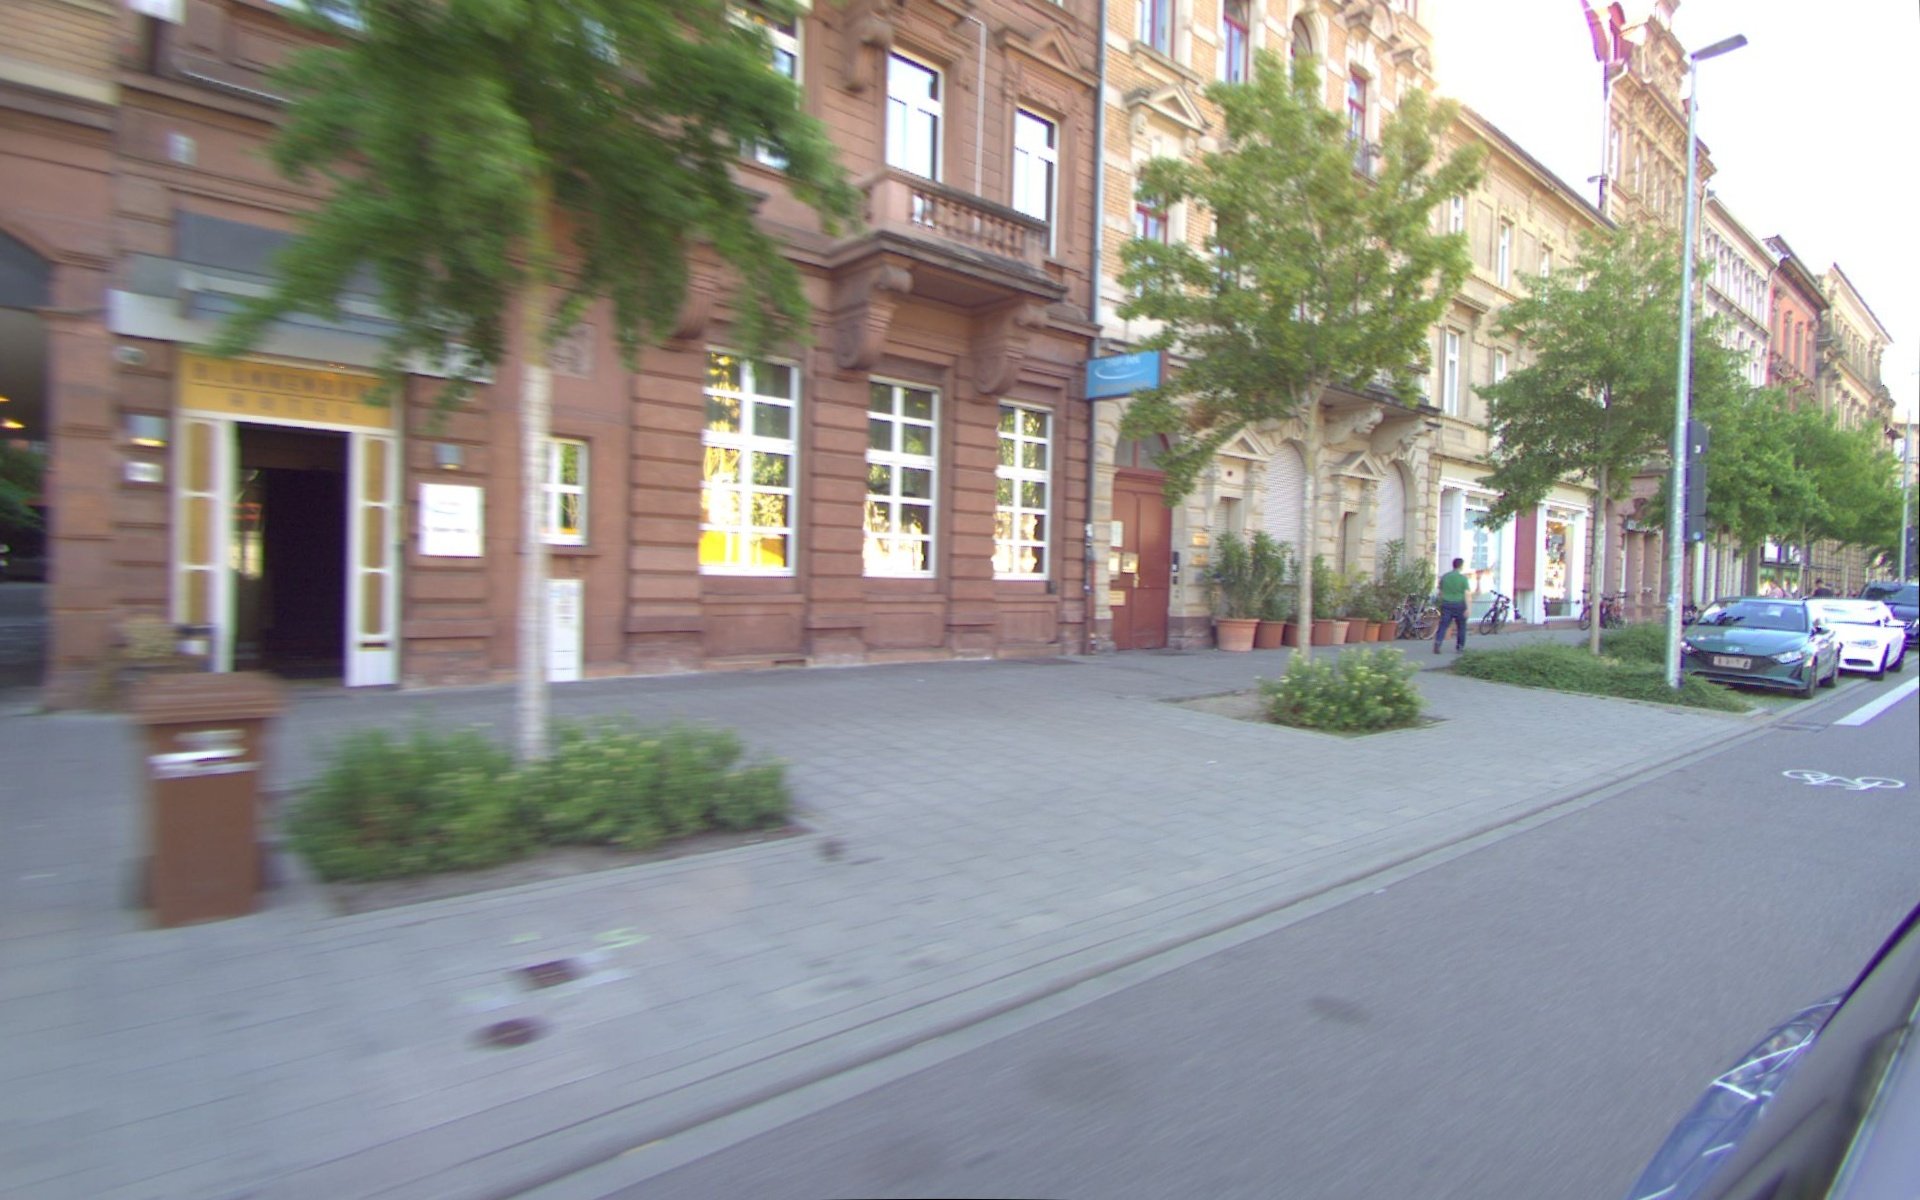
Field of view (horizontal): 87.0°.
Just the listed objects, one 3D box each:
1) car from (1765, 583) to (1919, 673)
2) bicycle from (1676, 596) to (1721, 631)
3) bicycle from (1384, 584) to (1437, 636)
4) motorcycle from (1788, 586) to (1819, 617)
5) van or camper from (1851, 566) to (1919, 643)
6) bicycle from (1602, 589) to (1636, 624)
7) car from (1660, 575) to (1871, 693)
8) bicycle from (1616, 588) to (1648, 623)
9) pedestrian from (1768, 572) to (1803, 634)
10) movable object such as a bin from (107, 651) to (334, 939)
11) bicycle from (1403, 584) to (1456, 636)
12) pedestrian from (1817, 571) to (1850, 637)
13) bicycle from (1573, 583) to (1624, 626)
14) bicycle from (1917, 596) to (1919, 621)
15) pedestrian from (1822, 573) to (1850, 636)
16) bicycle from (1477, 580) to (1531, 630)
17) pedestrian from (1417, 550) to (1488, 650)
[{"bbox_3d":[17.752,0.472,20.144,5.163,1.471,1.852,0,4,-43],"label":"car"},{"bbox_3d":[20.313,0.351,27.811,1.653,0.927,0.655,0,1,-42],"label":"bicycle"},{"bbox_3d":[9.866,0.204,22.144,1.647,1.093,0.385,0,1,-41],"label":"bicycle"},{"bbox_3d":[40.034,0.061,48.038,2.018,1.439,0.788,0,2,-41],"label":"motorcycle"},{"bbox_3d":[27.430,0.132,29.073,5.391,1.995,1.965,0,4,-41],"label":"van or camper"},{"bbox_3d":[20.833,0.193,31.982,2.037,1.046,0.343,0,1,-42],"label":"bicycle"},{"bbox_3d":[13.129,0.466,16.405,4.221,1.583,1.853,0,4,-41],"label":"car"},{"bbox_3d":[21.061,0.155,31.717,2.037,1.078,0.325,0,1,-42],"label":"bicycle"},{"bbox_3d":[23.522,0.071,28.843,0.566,1.750,0.482,1,1,4],"label":"pedestrian"},{"bbox_3d":[-2.871,0.716,3.998,0.548,0.935,0.679,1,4,-20],"label":"movable object such as a bin"},{"bbox_3d":[10.157,0.203,21.883,1.647,1.093,0.385,0,1,-41],"label":"bicycle"},{"bbox_3d":[24.021,0.107,27.823,0.495,1.801,0.473,0,1,-22],"label":"pedestrian"},{"bbox_3d":[18.912,0.117,29.963,2.037,1.235,0.706,0,1,-42],"label":"bicycle"},{"bbox_3d":[44.224,0.401,45.491,0.521,1.132,1.693,0,2,-39],"label":"bicycle"},{"bbox_3d":[24.727,0.110,28.570,0.482,1.750,0.504,0,1,-42],"label":"pedestrian"},{"bbox_3d":[13.678,0.111,25.429,1.744,1.210,0.719,0,2,-45],"label":"bicycle"},{"bbox_3d":[9.052,-0.017,18.595,1.053,1.776,0.749,0,3,-41],"label":"pedestrian"}]
